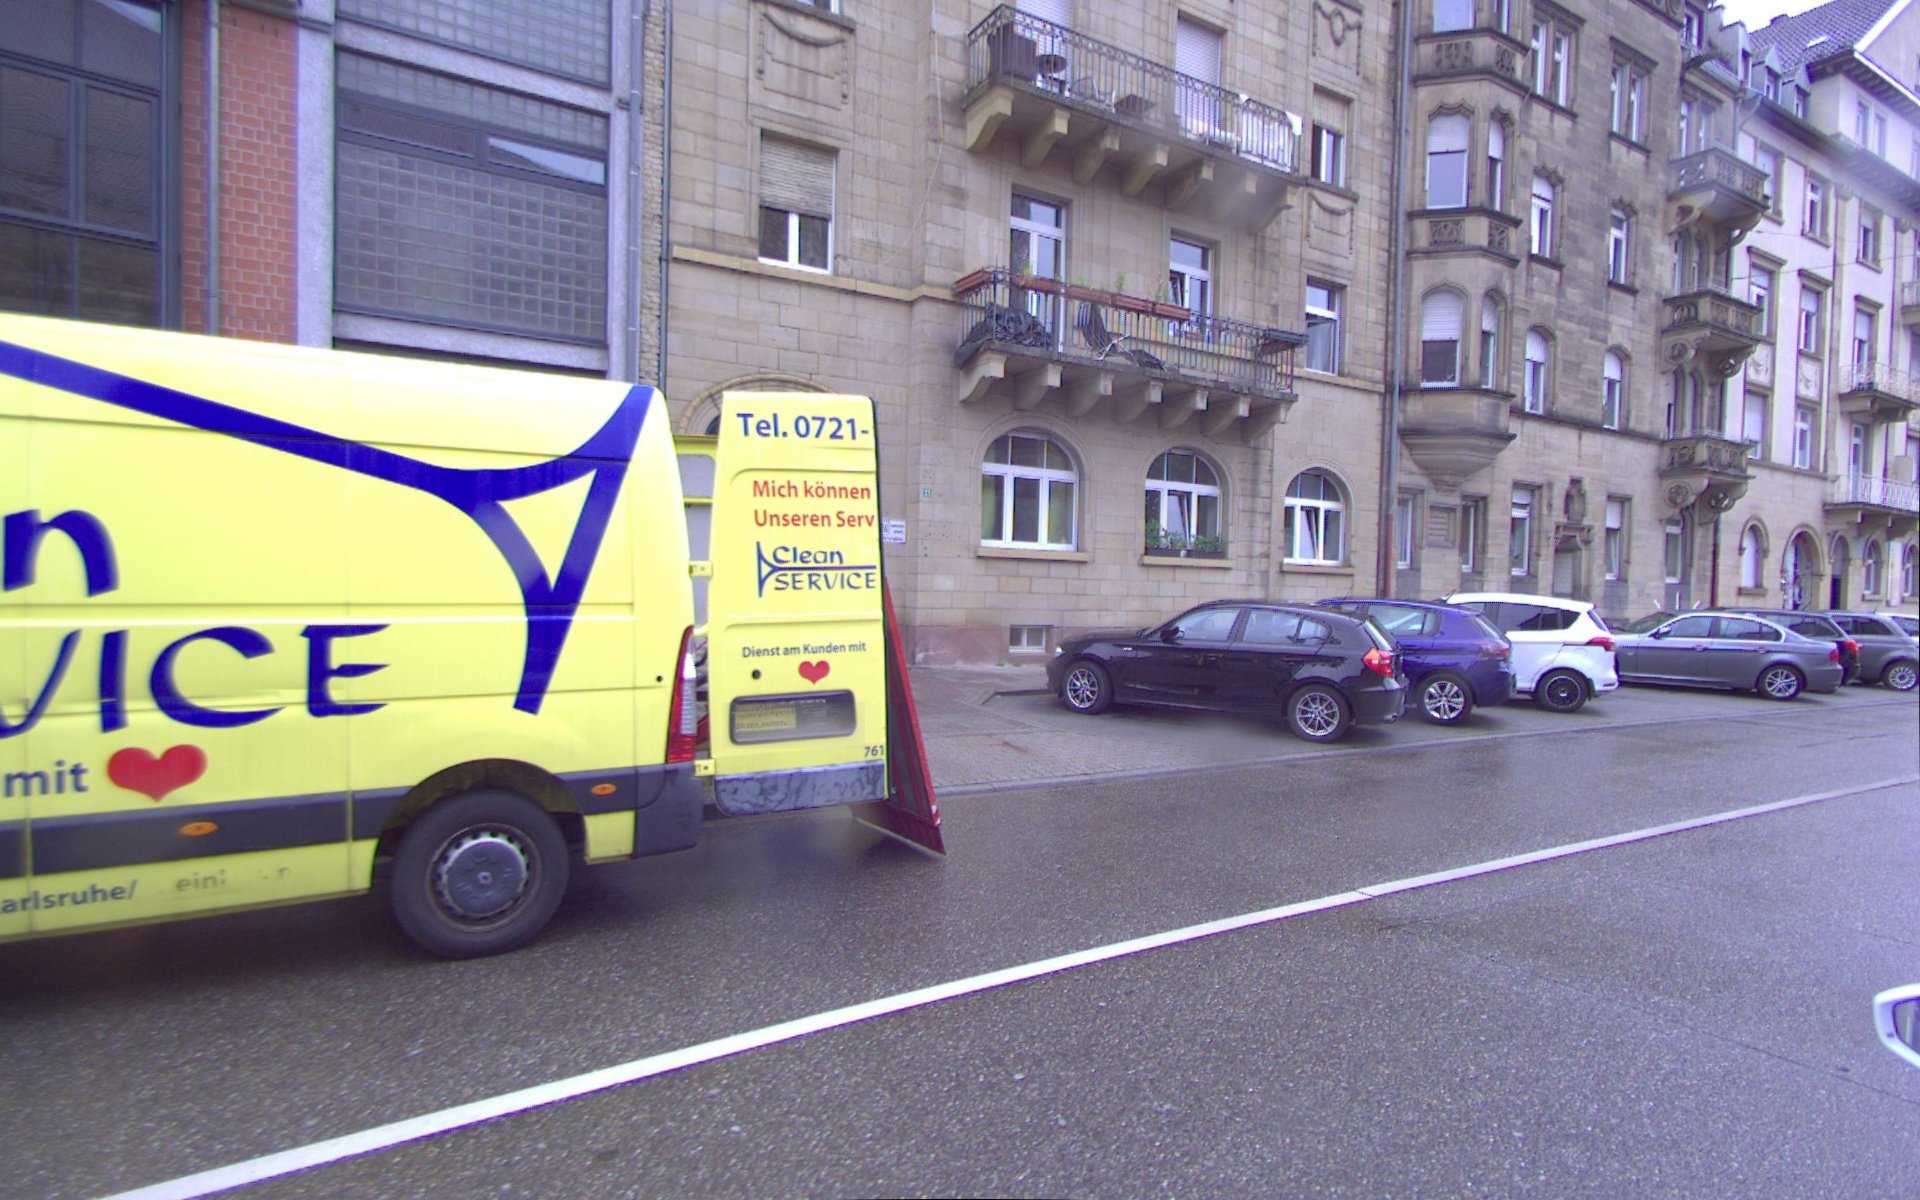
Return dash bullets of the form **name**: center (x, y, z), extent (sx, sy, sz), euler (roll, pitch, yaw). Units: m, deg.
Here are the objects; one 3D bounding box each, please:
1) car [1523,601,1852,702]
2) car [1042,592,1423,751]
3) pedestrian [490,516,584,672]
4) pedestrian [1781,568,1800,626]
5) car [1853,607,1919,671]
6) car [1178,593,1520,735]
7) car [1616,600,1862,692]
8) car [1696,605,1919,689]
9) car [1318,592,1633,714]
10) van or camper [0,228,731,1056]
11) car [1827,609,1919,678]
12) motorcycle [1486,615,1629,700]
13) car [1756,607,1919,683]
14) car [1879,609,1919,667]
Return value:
- **car**: center (12.853, 0.853, 18.090), extent (4.458, 1.566, 1.689), euler (1, 1, 18)
- **car**: center (3.142, 0.711, 11.763), extent (3.972, 1.532, 1.795), euler (1, 0, 31)
- **pedestrian**: center (-5.046, -0.071, 11.958), extent (0.781, 1.751, 0.997), euler (0, 1, -38)
- **pedestrian**: center (26.734, -0.086, 32.326), extent (0.343, 1.847, 0.364), euler (1, 0, -31)
- **car**: center (25.524, 1.020, 25.886), extent (3.337, 1.579, 1.705), euler (1, 1, 22)
- **car**: center (5.134, 0.737, 13.390), extent (3.973, 1.594, 1.794), euler (1, 0, 32)
- **car**: center (15.200, 0.840, 19.821), extent (3.485, 1.619, 1.605), euler (1, 1, 22)
- **car**: center (17.847, 0.933, 21.234), extent (3.337, 1.579, 1.652), euler (1, 1, 22)
- **car**: center (7.480, 0.708, 15.028), extent (3.964, 1.576, 1.798), euler (1, 0, 21)
- **van or camper**: center (-4.084, 0.130, 3.863), extent (5.875, 2.646, 2.184), euler (1, 0, -32)
- **car**: center (23.351, 1.062, 24.165), extent (3.337, 1.579, 1.705), euler (1, 1, 22)
- **motorcycle**: center (9.543, 0.895, 16.118), extent (1.837, 1.177, 0.633), euler (4, 2, 24)
- **car**: center (20.378, 0.989, 22.708), extent (3.337, 1.579, 1.705), euler (1, 1, 22)
- **car**: center (27.848, 1.078, 27.644), extent (3.337, 1.579, 1.705), euler (1, 1, 22)
